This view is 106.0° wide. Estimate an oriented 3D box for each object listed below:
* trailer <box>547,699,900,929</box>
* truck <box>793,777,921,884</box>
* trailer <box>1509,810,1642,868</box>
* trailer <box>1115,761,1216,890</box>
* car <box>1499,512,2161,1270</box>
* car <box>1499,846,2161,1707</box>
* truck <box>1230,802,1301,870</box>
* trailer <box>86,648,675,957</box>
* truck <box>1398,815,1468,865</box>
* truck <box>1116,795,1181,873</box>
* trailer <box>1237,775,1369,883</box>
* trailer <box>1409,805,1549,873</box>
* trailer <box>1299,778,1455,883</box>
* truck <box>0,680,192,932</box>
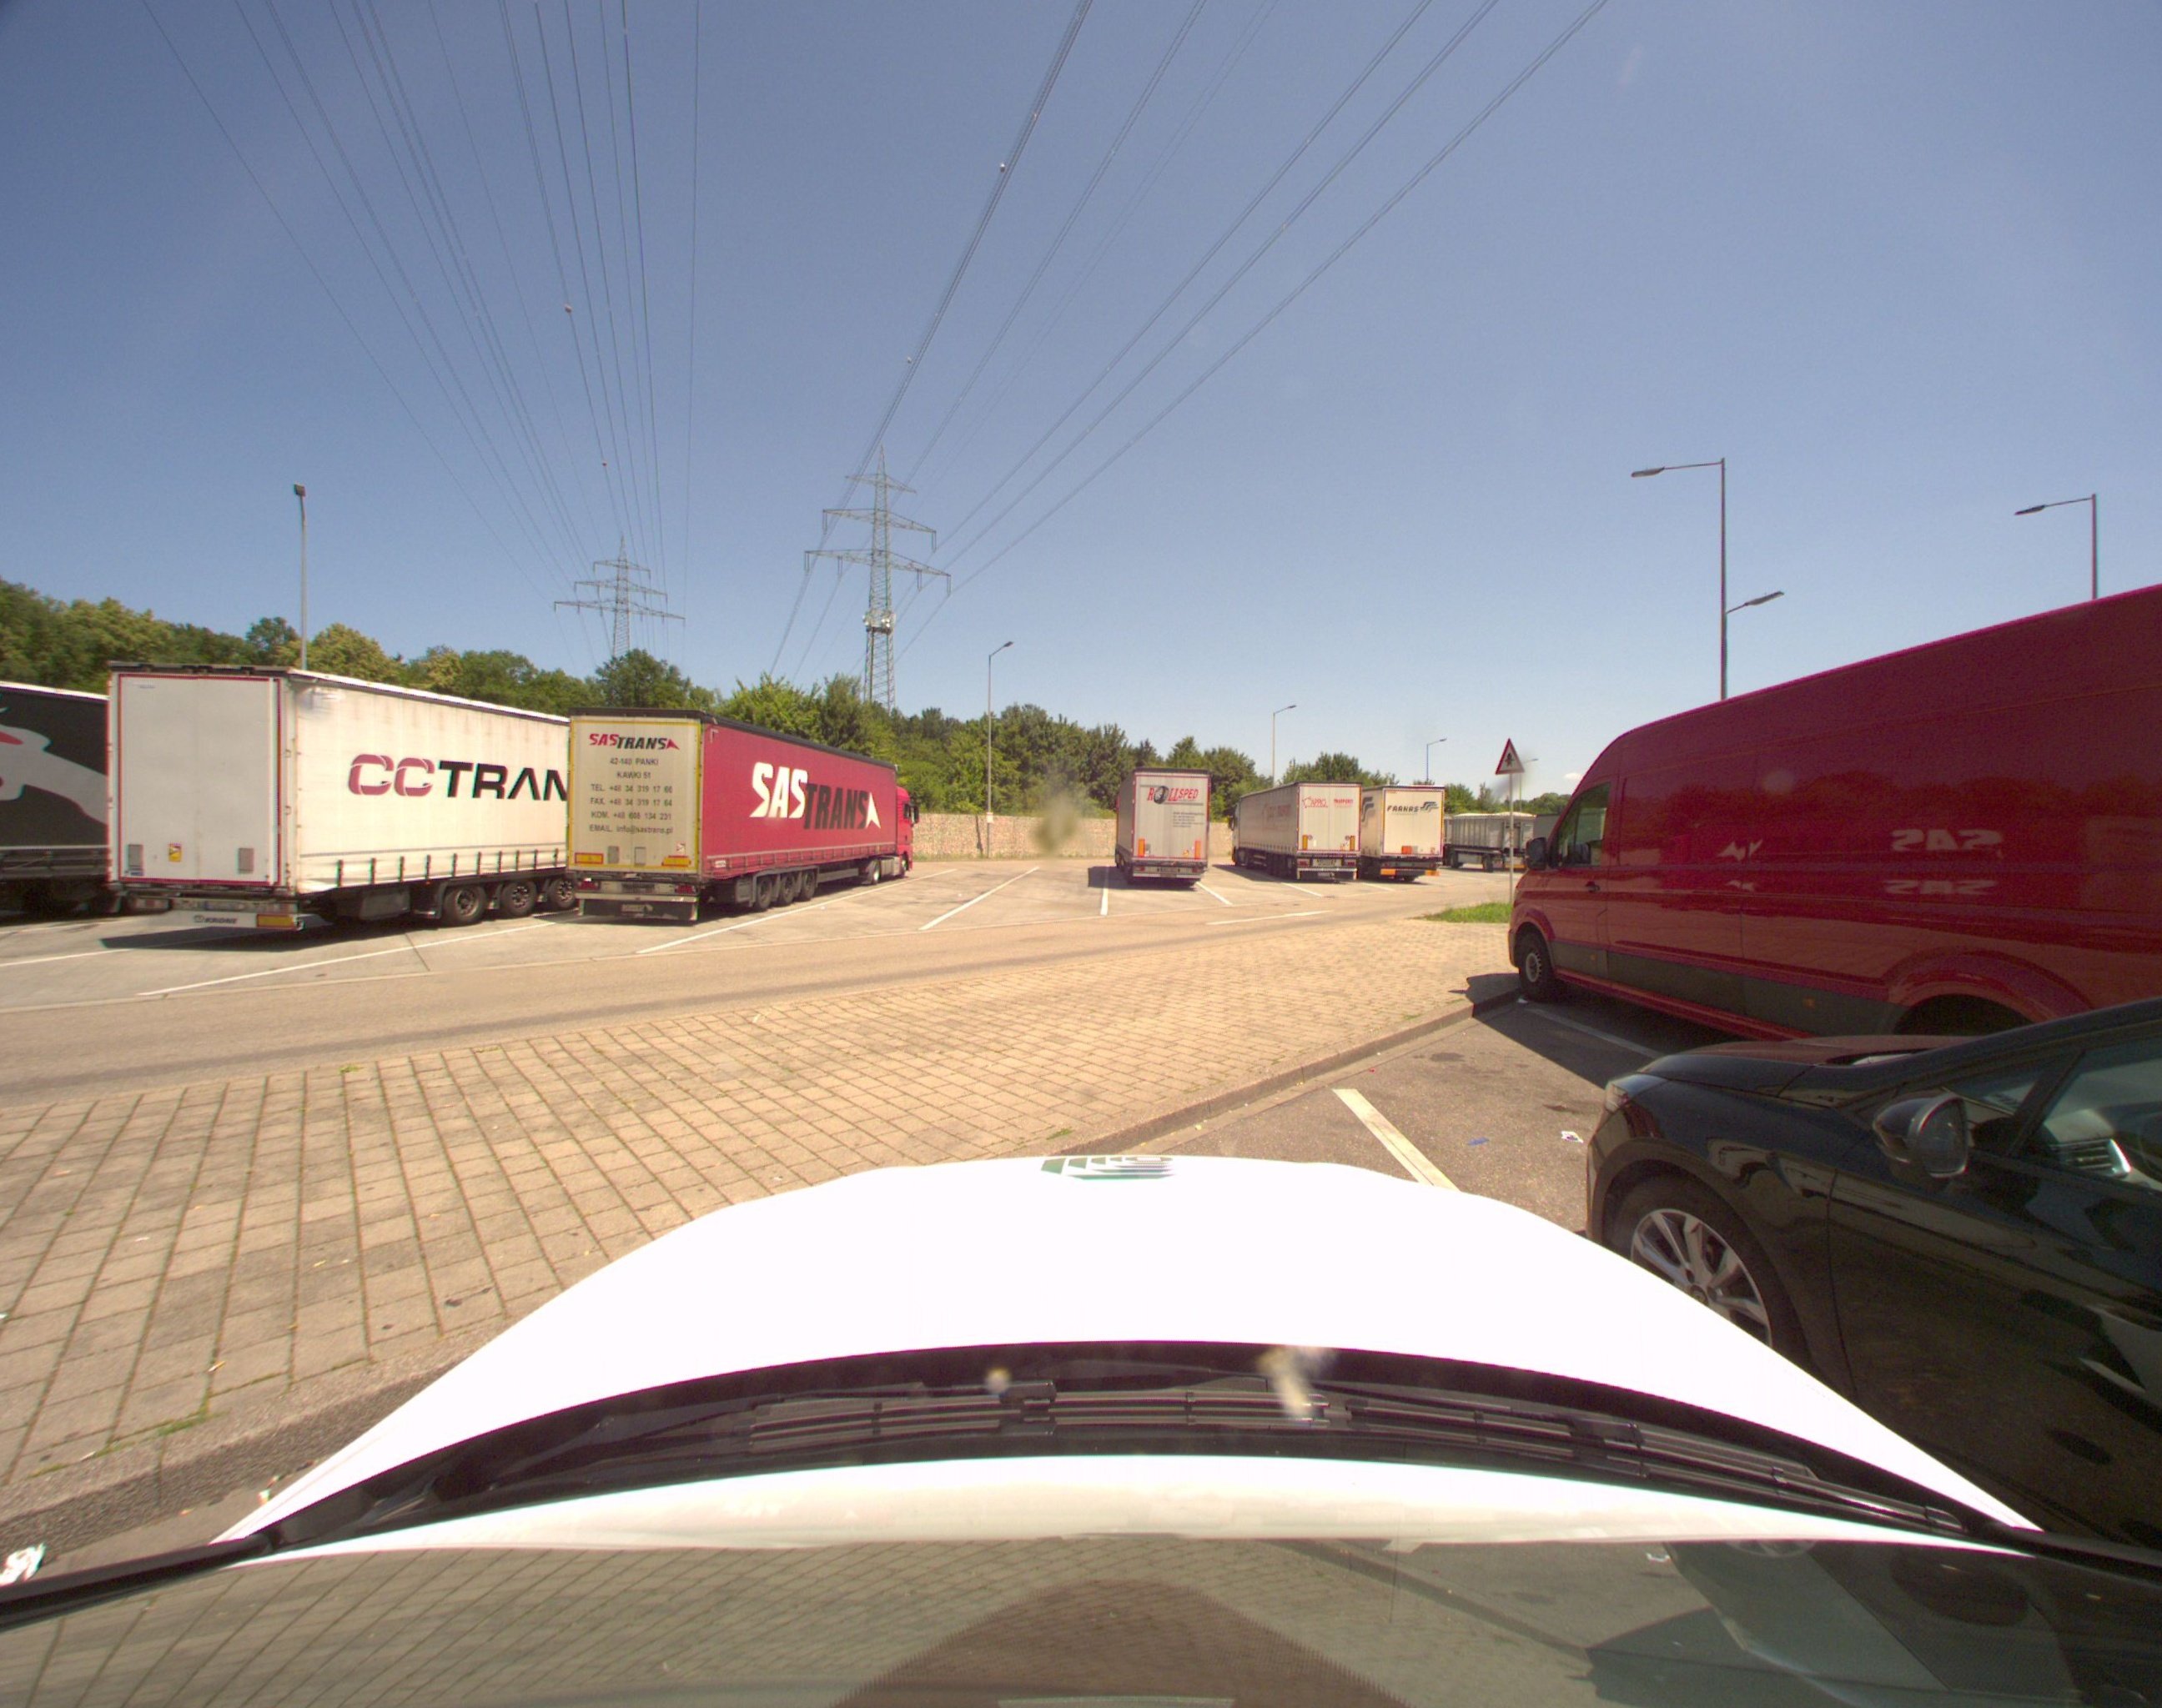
[{"bbox_3d":[-8.032,-0.953,21.653,2.896,4.131,13.731,1,2,2],"label":"trailer"},{"bbox_3d":[-7.793,-0.833,29.090,2.841,3.427,5.486,1,1,2],"label":"truck"},{"bbox_3d":[38.382,-1.239,64.133,2.826,4.049,13.737,1,2,3],"label":"trailer"},{"bbox_3d":[3.032,-1.102,33.292,2.896,4.132,13.727,1,2,1],"label":"trailer"},{"bbox_3d":[5.169,0.082,5.486,2.055,2.695,6.405,-1,1,6],"label":"car"},{"bbox_3d":[2.526,0.749,1.175,1.733,1.482,3.813,-1,1,-3],"label":"car"},{"bbox_3d":[10.171,-1.028,45.430,2.841,3.483,5.486,1,1,2],"label":"truck"},{"bbox_3d":[-12.197,-0.888,16.324,2.718,4.209,10.175,1,2,2],"label":"trailer"},{"bbox_3d":[24.928,-1.010,57.947,2.840,3.364,5.488,1,1,3],"label":"truck"},{"bbox_3d":[3.176,-0.987,39.905,2.841,3.483,5.486,1,1,2],"label":"truck"},{"bbox_3d":[9.962,-1.154,38.619,2.828,4.132,13.730,1,2,2],"label":"trailer"},{"bbox_3d":[24.539,-1.003,51.449,2.826,3.717,13.737,1,2,3],"label":"trailer"},{"bbox_3d":[13.619,-1.122,39.283,2.828,4.132,13.730,1,2,2],"label":"trailer"},{"bbox_3d":[-18.573,-0.800,13.560,2.692,4.016,4.326,1,2,2],"label":"truck"}]
